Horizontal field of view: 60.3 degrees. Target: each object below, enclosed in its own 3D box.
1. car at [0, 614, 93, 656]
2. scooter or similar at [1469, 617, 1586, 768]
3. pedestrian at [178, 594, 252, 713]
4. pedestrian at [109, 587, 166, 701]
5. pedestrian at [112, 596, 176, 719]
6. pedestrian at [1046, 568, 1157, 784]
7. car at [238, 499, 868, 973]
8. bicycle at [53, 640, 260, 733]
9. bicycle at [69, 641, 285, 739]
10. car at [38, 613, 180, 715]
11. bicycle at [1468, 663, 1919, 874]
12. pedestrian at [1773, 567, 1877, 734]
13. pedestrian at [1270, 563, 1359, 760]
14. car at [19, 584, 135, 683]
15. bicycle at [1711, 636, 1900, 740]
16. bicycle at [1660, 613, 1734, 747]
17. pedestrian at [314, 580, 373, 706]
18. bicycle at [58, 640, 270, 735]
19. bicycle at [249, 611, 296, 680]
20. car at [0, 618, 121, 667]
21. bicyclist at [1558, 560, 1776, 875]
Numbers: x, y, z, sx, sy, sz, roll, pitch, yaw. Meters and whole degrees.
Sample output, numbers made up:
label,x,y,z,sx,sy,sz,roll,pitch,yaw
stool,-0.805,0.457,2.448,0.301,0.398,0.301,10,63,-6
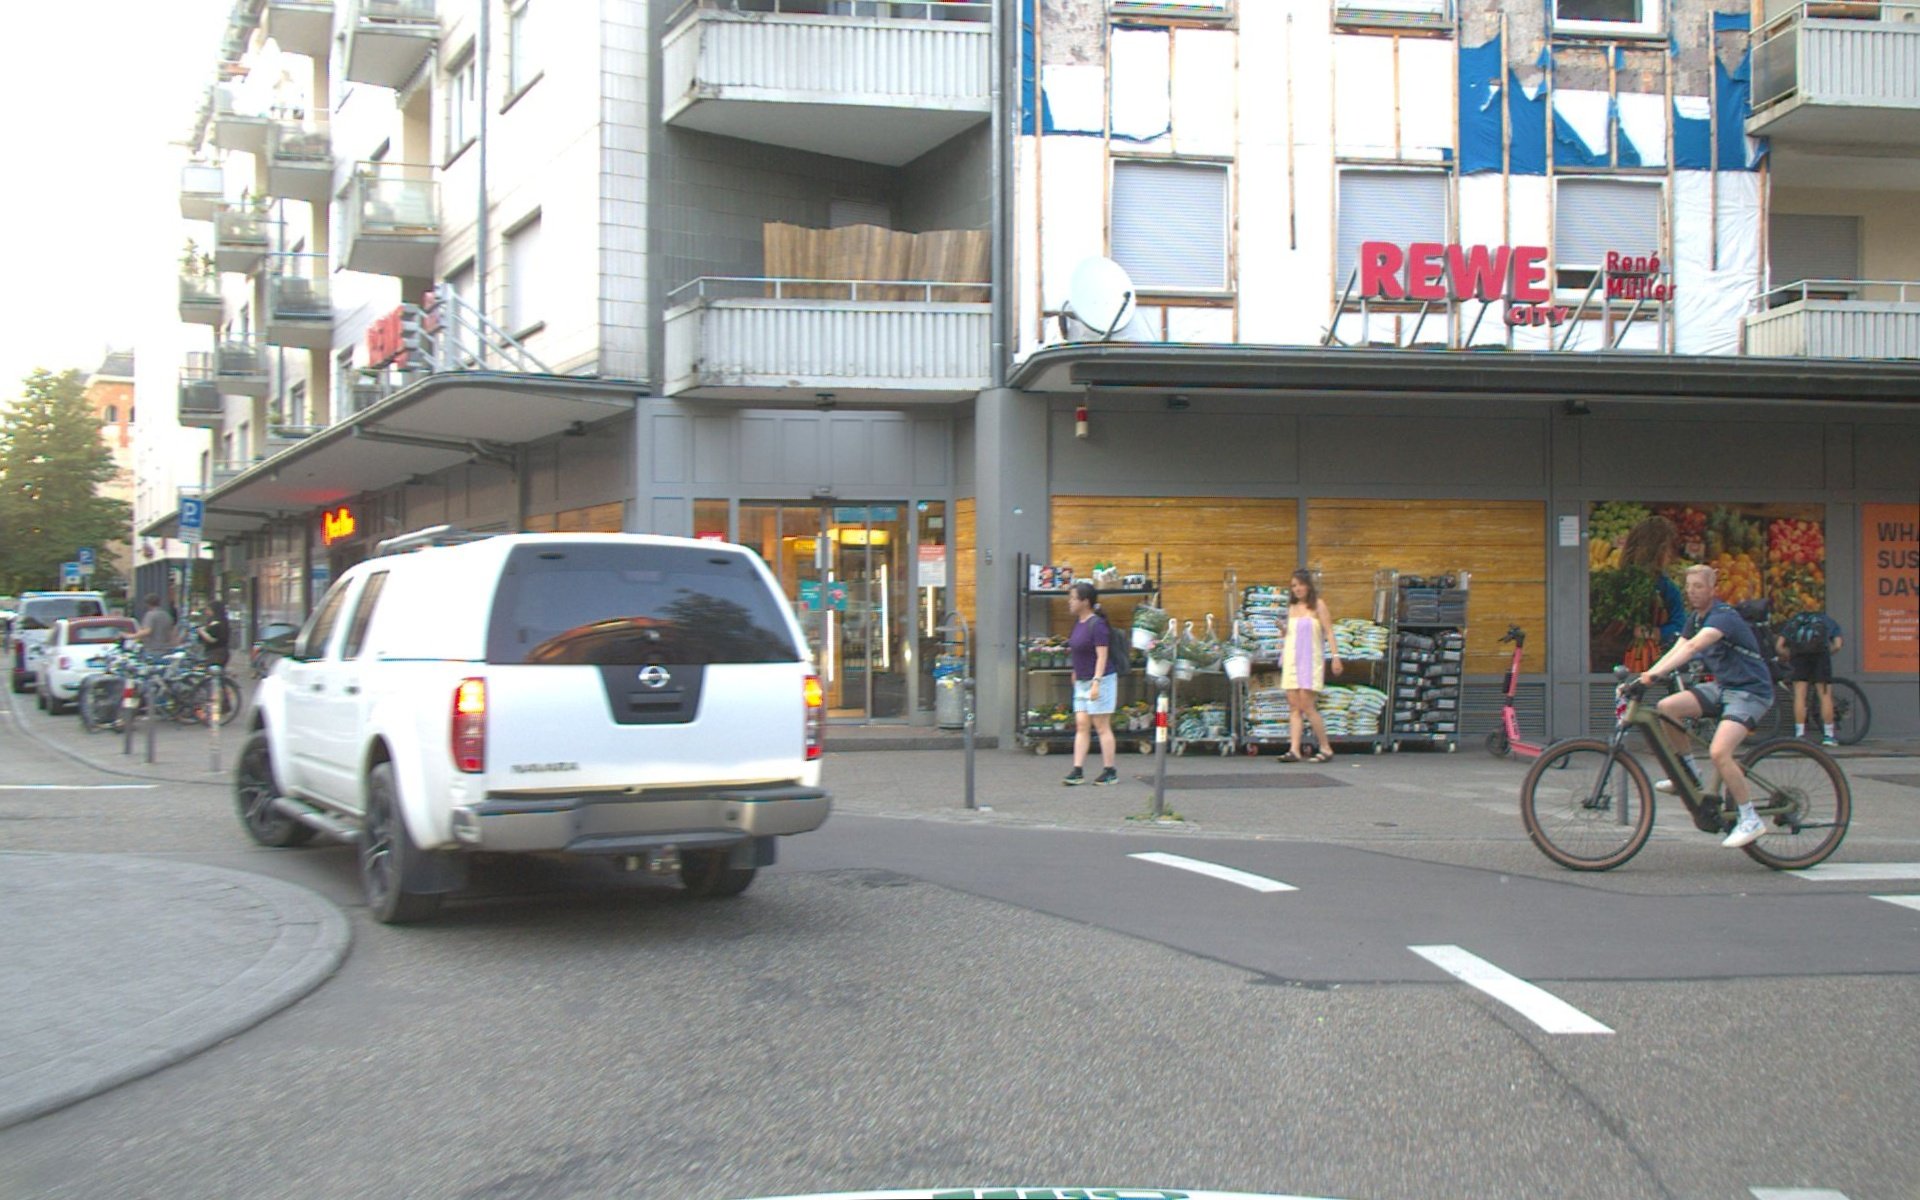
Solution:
label,x,y,z,sx,sy,sz,roll,pitch,yaw
car,-40.303,1.547,72.446,3.948,1.781,1.820,2,-2,-32
scooter or similar,5.184,0.821,15.159,0.316,1.289,1.283,1,0,-16
pedestrian,-10.839,0.776,24.084,0.686,1.692,0.722,1,-2,2
pedestrian,-12.418,0.667,24.966,0.693,1.692,0.715,2,-2,-30
pedestrian,-11.466,0.808,23.240,0.712,1.692,0.695,2,-2,-31
pedestrian,1.148,0.603,13.368,0.697,1.681,0.718,0,-2,23
car,-2.532,0.505,9.061,1.919,1.842,4.946,1,0,-32
bicycle,-10.906,1.147,22.505,2.442,1.056,0.609,-3,1,-36
bicycle,-10.112,1.136,21.426,2.442,1.056,0.609,-3,1,-36
car,-14.292,1.043,27.673,1.816,1.569,3.957,2,-2,-31
bicycle,4.130,0.931,9.471,2.229,1.092,0.792,0,0,8
pedestrian,8.640,0.503,16.540,0.651,1.629,0.717,1,-2,-1
pedestrian,3.267,0.557,15.202,0.651,1.756,0.722,0,-2,25
car,-18.785,0.726,35.115,1.923,1.968,3.957,2,-2,-31
bicycle,8.683,0.901,16.997,1.840,1.045,0.377,1,-2,-7
bicycle,7.167,0.760,16.124,0.340,1.224,1.810,0,-2,14
pedestrian,-9.659,0.680,25.911,0.712,1.940,0.695,2,-2,-31
bicycle,-10.539,1.136,21.953,2.442,1.056,0.609,-3,1,-36
bicycle,-14.706,0.959,35.371,0.550,1.432,2.071,2,-2,-33
car,-33.865,1.606,62.223,3.948,1.781,1.820,2,-2,-32
bicyclist,4.026,0.641,9.488,0.973,1.718,0.792,0,0,8
